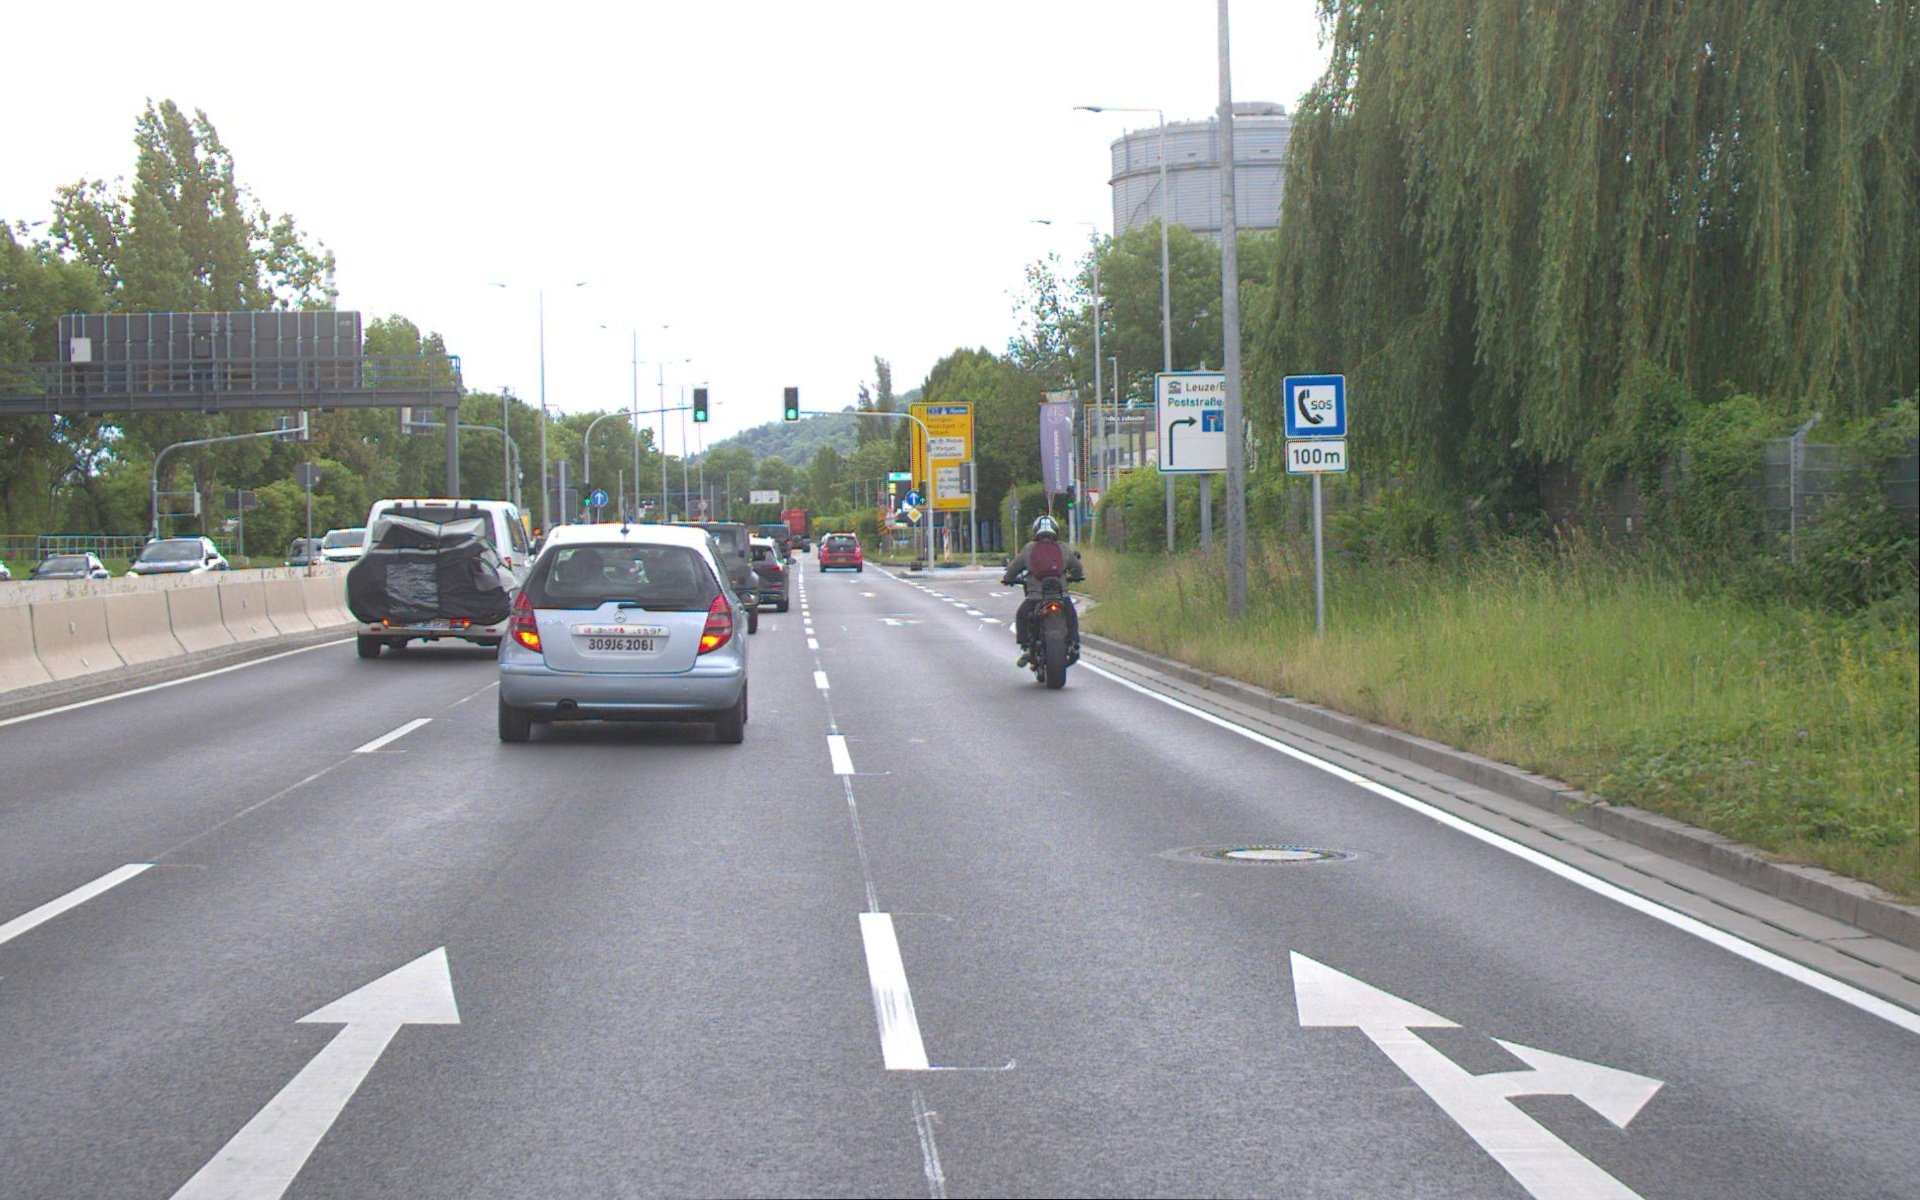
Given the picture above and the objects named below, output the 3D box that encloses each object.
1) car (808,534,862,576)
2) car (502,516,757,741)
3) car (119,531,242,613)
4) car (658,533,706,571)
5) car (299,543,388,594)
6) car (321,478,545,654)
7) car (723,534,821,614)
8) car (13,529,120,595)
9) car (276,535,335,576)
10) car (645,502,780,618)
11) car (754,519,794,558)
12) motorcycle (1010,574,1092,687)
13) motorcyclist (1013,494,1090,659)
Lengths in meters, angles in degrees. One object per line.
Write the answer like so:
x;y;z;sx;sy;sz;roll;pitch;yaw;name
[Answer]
-4.956;-1.792;136.378;1.993;1.546;4.001;1;1;-4;car
-2.416;0.152;25.932;1.710;1.525;4.001;1;1;-3;car
-17.646;-0.662;77.963;1.993;1.733;4.001;1;1;-2;car
-12.003;-2.092;148.663;1.993;1.546;4.001;1;1;-4;car
-19.991;-1.043;111.648;1.993;1.554;4.886;1;1;0;car
-6.192;-0.446;40.936;2.214;1.919;5.003;1;1;-4;car
-3.692;-0.543;67.759;1.840;1.459;4.001;1;1;-3;car
-24.545;-1.066;94.572;1.993;1.733;4.001;1;1;-2;car
-27.955;-1.923;146.929;1.877;1.677;3.928;1;1;-3;car
-3.781;-0.637;53.052;1.907;1.678;4.001;1;1;-2;car
-9.782;-3.268;181.386;1.993;2.007;4.001;1;1;-2;car
0.890;0.288;34.158;0.706;1.036;2.027;1;1;-1;motorcycle
0.905;-0.243;34.087;0.684;1.604;0.845;1;1;-1;motorcyclist
